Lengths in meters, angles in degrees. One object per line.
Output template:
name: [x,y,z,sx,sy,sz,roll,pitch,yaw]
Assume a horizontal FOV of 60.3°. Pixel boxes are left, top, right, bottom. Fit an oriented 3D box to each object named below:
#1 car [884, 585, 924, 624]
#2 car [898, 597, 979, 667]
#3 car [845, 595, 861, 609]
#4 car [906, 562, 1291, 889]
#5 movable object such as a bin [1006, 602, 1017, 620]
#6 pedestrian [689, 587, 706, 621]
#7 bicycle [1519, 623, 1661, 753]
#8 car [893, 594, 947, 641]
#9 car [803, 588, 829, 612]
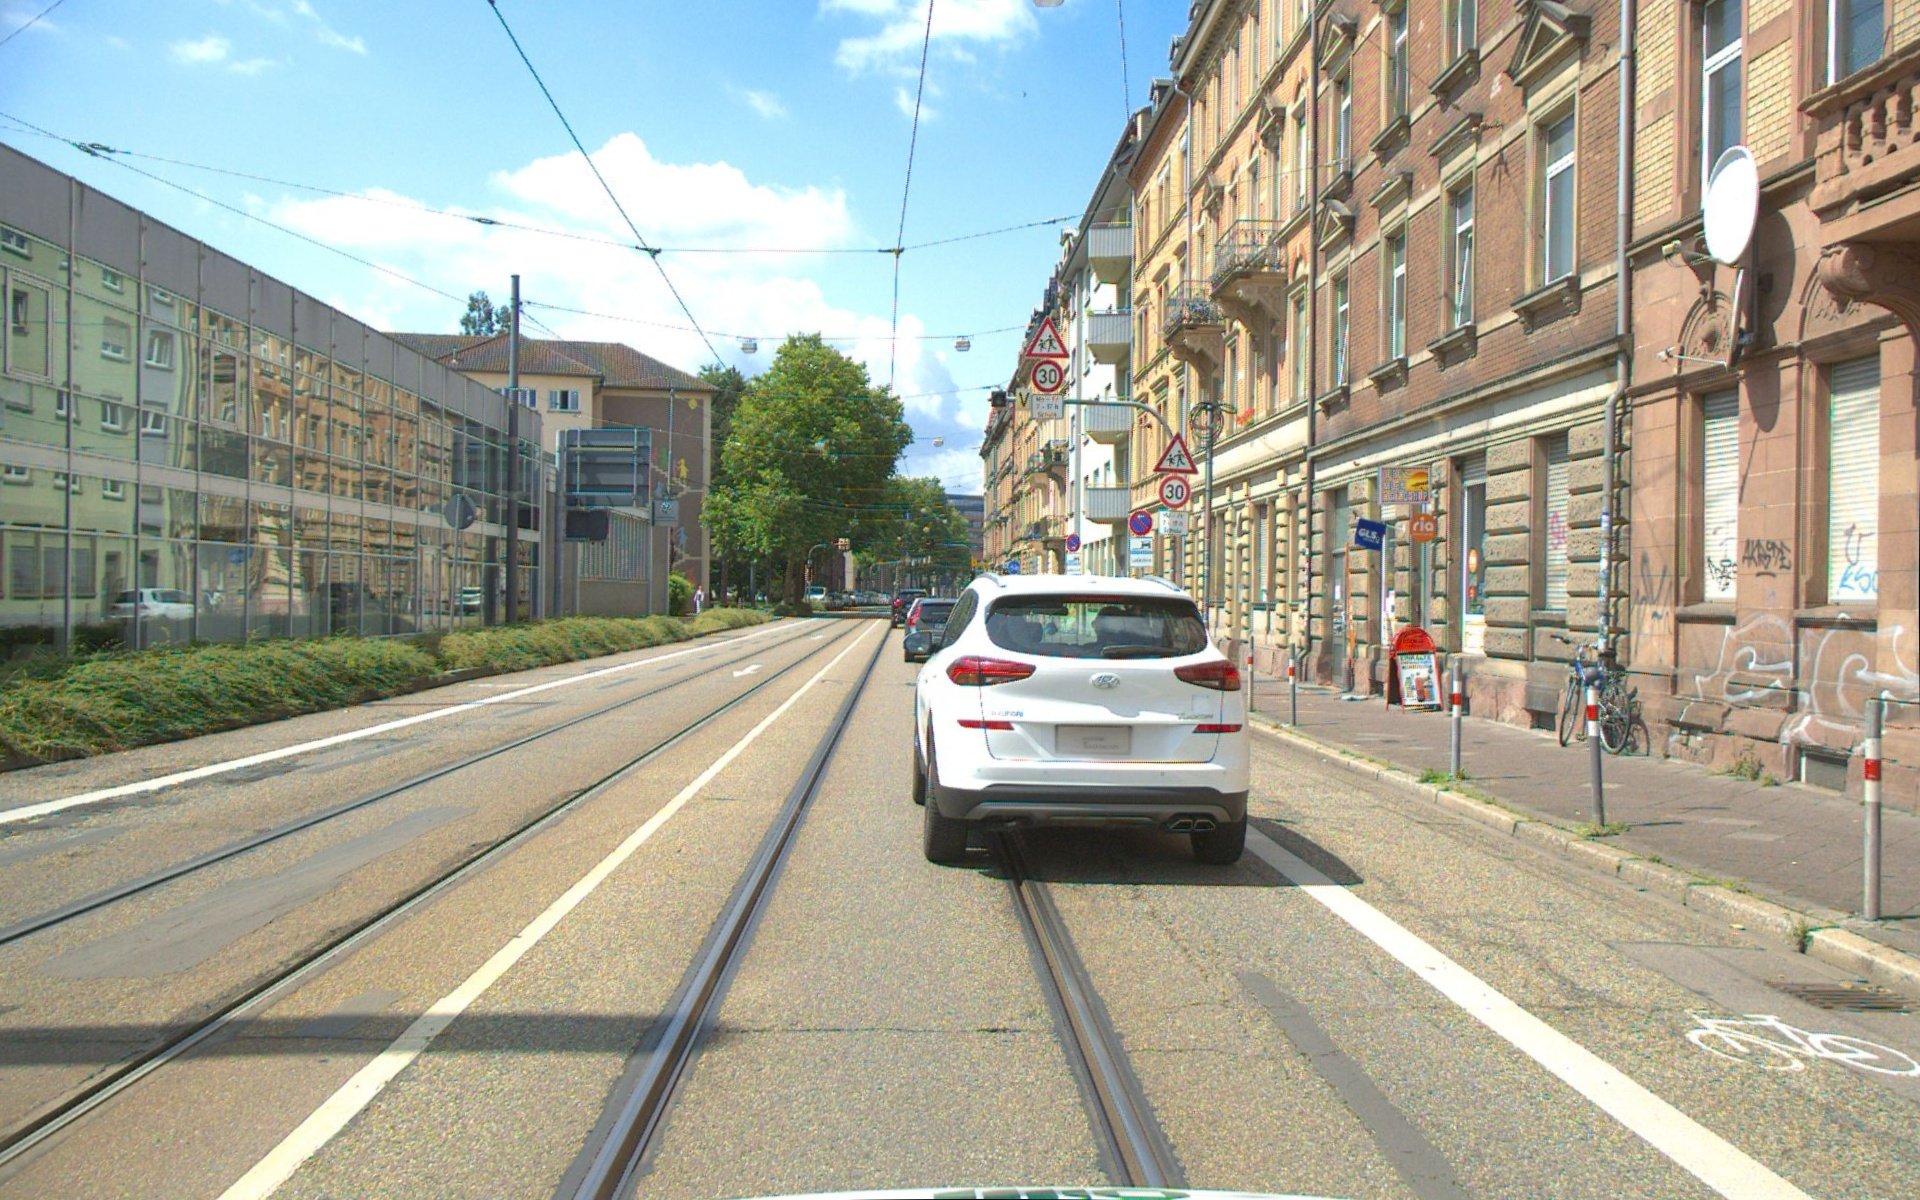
car: [-2.565,0.192,75.952,1.778,1.691,4.083,1,0,-2]
car: [-0.458,0.707,39.026,1.777,1.551,4.086,0,0,1]
car: [-13.306,0.249,205.032,1.912,1.660,3.997,2,0,-4]
car: [0.666,0.652,10.729,1.816,1.662,4.177,2,0,-4]
movable object such as a bin: [3.280,0.698,105.529,0.600,1.163,0.638,1,0,-2]
pedestrian: [-15.138,0.230,95.431,0.862,1.898,1.080,0,0,-2]
bicycle: [6.370,0.850,16.839,0.574,1.199,2.204,0,0,-1]
car: [-1.384,0.579,56.788,1.778,1.551,3.954,0,0,-2]
car: [-12.289,-0.011,140.991,1.911,1.928,4.563,2,0,-2]
